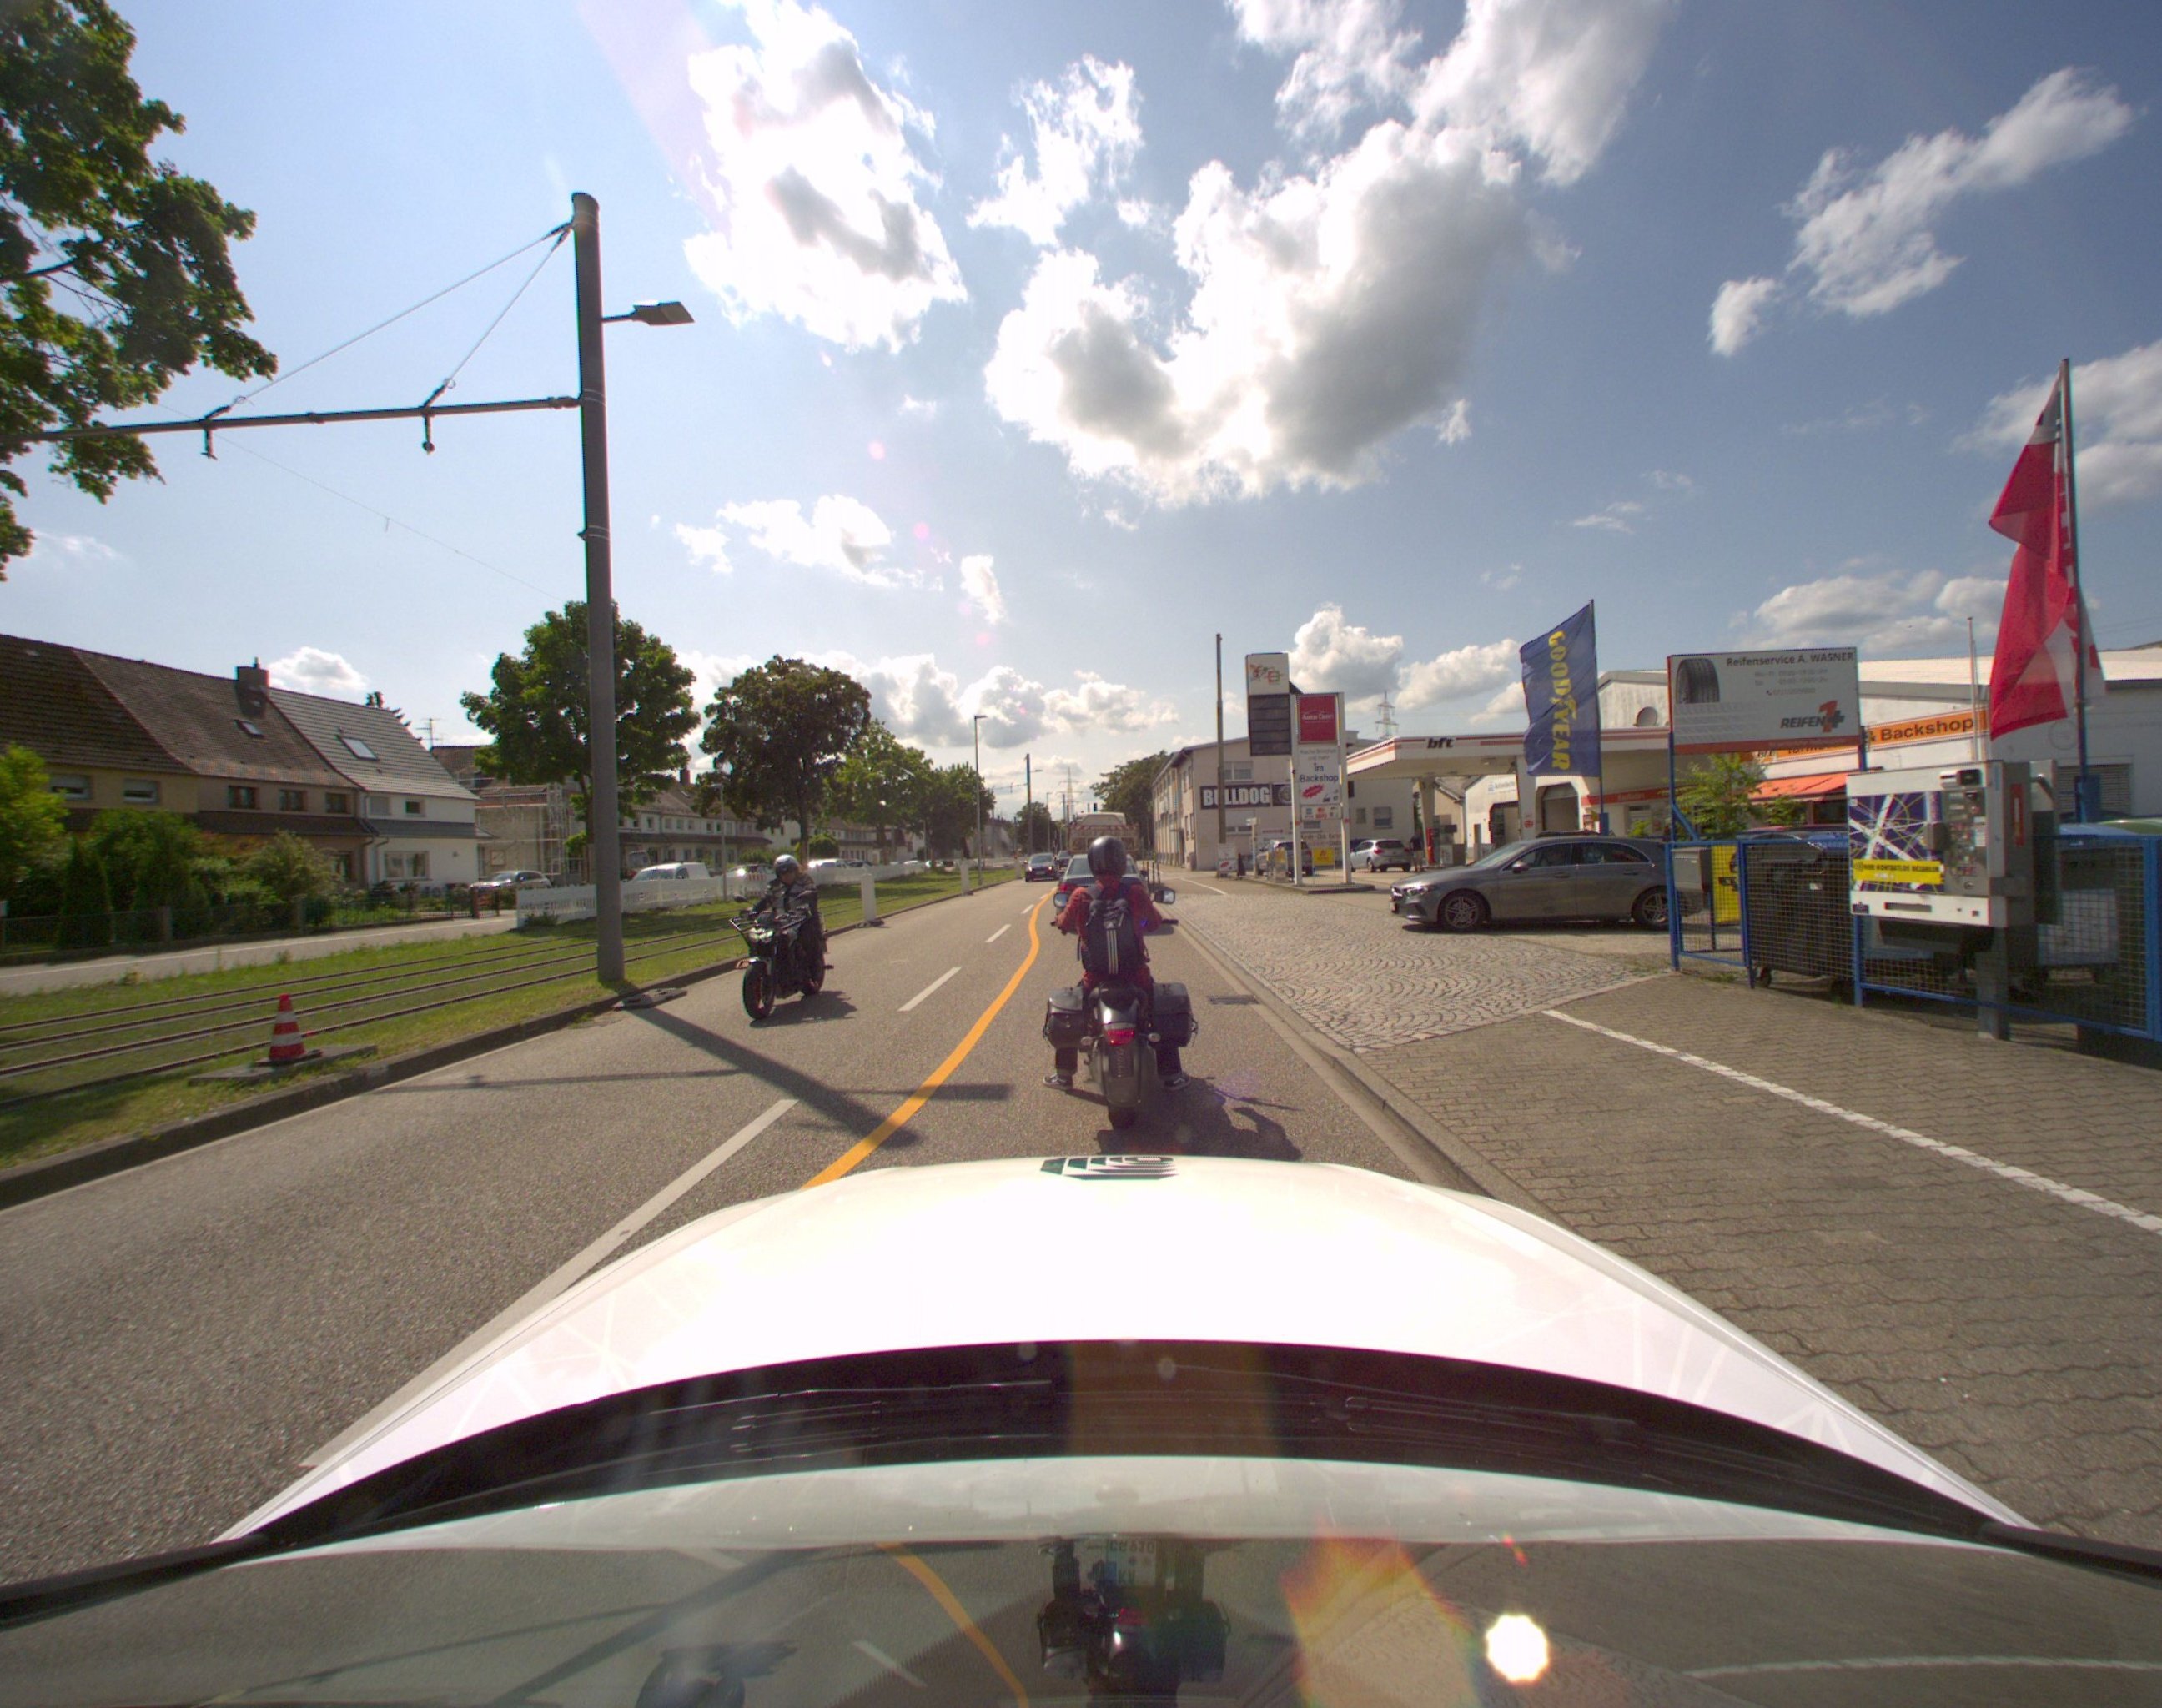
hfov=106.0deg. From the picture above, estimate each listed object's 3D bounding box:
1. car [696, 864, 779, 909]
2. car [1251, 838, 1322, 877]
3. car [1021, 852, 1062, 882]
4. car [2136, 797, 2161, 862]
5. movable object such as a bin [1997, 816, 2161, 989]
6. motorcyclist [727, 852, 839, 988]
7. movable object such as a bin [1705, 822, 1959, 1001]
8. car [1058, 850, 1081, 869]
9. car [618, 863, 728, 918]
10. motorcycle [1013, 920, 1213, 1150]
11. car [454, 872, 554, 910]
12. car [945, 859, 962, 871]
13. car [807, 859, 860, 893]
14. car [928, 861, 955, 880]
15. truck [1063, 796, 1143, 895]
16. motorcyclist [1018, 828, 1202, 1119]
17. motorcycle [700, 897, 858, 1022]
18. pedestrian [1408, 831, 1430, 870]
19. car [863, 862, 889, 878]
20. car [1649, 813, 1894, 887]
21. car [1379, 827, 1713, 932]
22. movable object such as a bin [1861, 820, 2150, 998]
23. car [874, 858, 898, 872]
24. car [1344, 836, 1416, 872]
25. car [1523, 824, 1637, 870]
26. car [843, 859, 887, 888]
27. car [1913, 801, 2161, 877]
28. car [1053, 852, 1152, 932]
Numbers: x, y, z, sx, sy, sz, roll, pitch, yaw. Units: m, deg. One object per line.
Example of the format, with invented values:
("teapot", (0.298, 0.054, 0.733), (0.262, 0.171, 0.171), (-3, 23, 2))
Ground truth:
("car", (-15.408, 1.410, 36.798), (1.769, 1.774, 4.230), (-2, 0, 2))
("car", (9.115, 0.149, 36.452), (1.665, 1.562, 4.235), (-2, 0, -6))
("car", (-2.120, 0.658, 44.901), (1.816, 1.452, 4.326), (-3, 0, 2))
("car", (26.526, -0.637, 18.001), (4.180, 1.463, 1.587), (-2, 0, 2))
("movable object such as a bin", (9.486, 0.373, 7.130), (1.397, 1.396, 1.338), (-2, 0, 1))
("motorcyclist", (-3.210, 0.685, 8.849), (0.866, 1.378, 0.800), (-2, 0, -1))
("movable object such as a bin", (6.689, 0.476, 7.358), (1.104, 1.436, 1.244), (-2, 0, 1))
("car", (-1.067, 0.453, 74.719), (1.816, 1.602, 4.326), (-3, 0, 2))
("car", (-15.465, 1.314, 31.155), (1.769, 1.821, 4.366), (-2, 0, 2))
("motorcycle", (0.204, 1.023, 5.444), (0.975, 0.897, 2.654), (-2, 0, 2))
("car", (-27.438, 1.723, 38.893), (1.769, 1.519, 4.002), (-2, 0, 2))
("car", (-19.636, 1.633, 125.916), (1.769, 1.722, 4.130), (-2, 0, 2))
("car", (-15.065, 1.326, 49.860), (1.769, 1.867, 4.130), (-2, 0, 2))
("car", (-13.730, 1.630, 80.453), (1.769, 1.722, 4.130), (-2, 0, 2))
("truck", (0.903, -0.317, 32.150), (2.628, 3.296, 8.059), (-2, 0, 2))
("motorcyclist", (0.179, 0.674, 5.140), (0.975, 1.602, 1.088), (-2, 0, 1))
("motorcycle", (-3.192, 1.066, 8.899), (0.866, 1.021, 2.244), (-2, 0, -1))
("pedestrian", (14.651, -0.133, 35.317), (0.701, 1.656, 0.551), (-2, 0, 37))
("car", (-24.391, 1.837, 97.041), (1.769, 1.722, 4.130), (-2, 0, 2))
("car", (15.773, -0.090, 18.757), (4.180, 1.463, 1.587), (-2, 0, 2))
("car", (7.094, 0.393, 12.871), (4.244, 1.415, 1.680), (-2, 0, 12))
("movable object such as a bin", (8.083, 0.443, 7.218), (1.104, 1.396, 1.244), (-2, 0, 1))
("car", (-25.162, 1.399, 105.202), (1.769, 1.722, 4.130), (-2, 0, 2))
("car", (13.476, -0.009, 36.919), (1.800, 1.503, 3.832), (-2, 0, -1))
("car", (18.119, -0.248, 29.783), (1.800, 1.503, 3.833), (-2, 0, 0))
("car", (-14.806, 1.333, 56.037), (1.769, 1.805, 4.130), (-2, 0, 2))
("car", (21.522, -0.341, 18.164), (4.180, 1.463, 1.587), (-2, 0, 2))
("car", (0.466, 0.703, 17.093), (1.816, 1.452, 4.002), (0, 0, 2))
